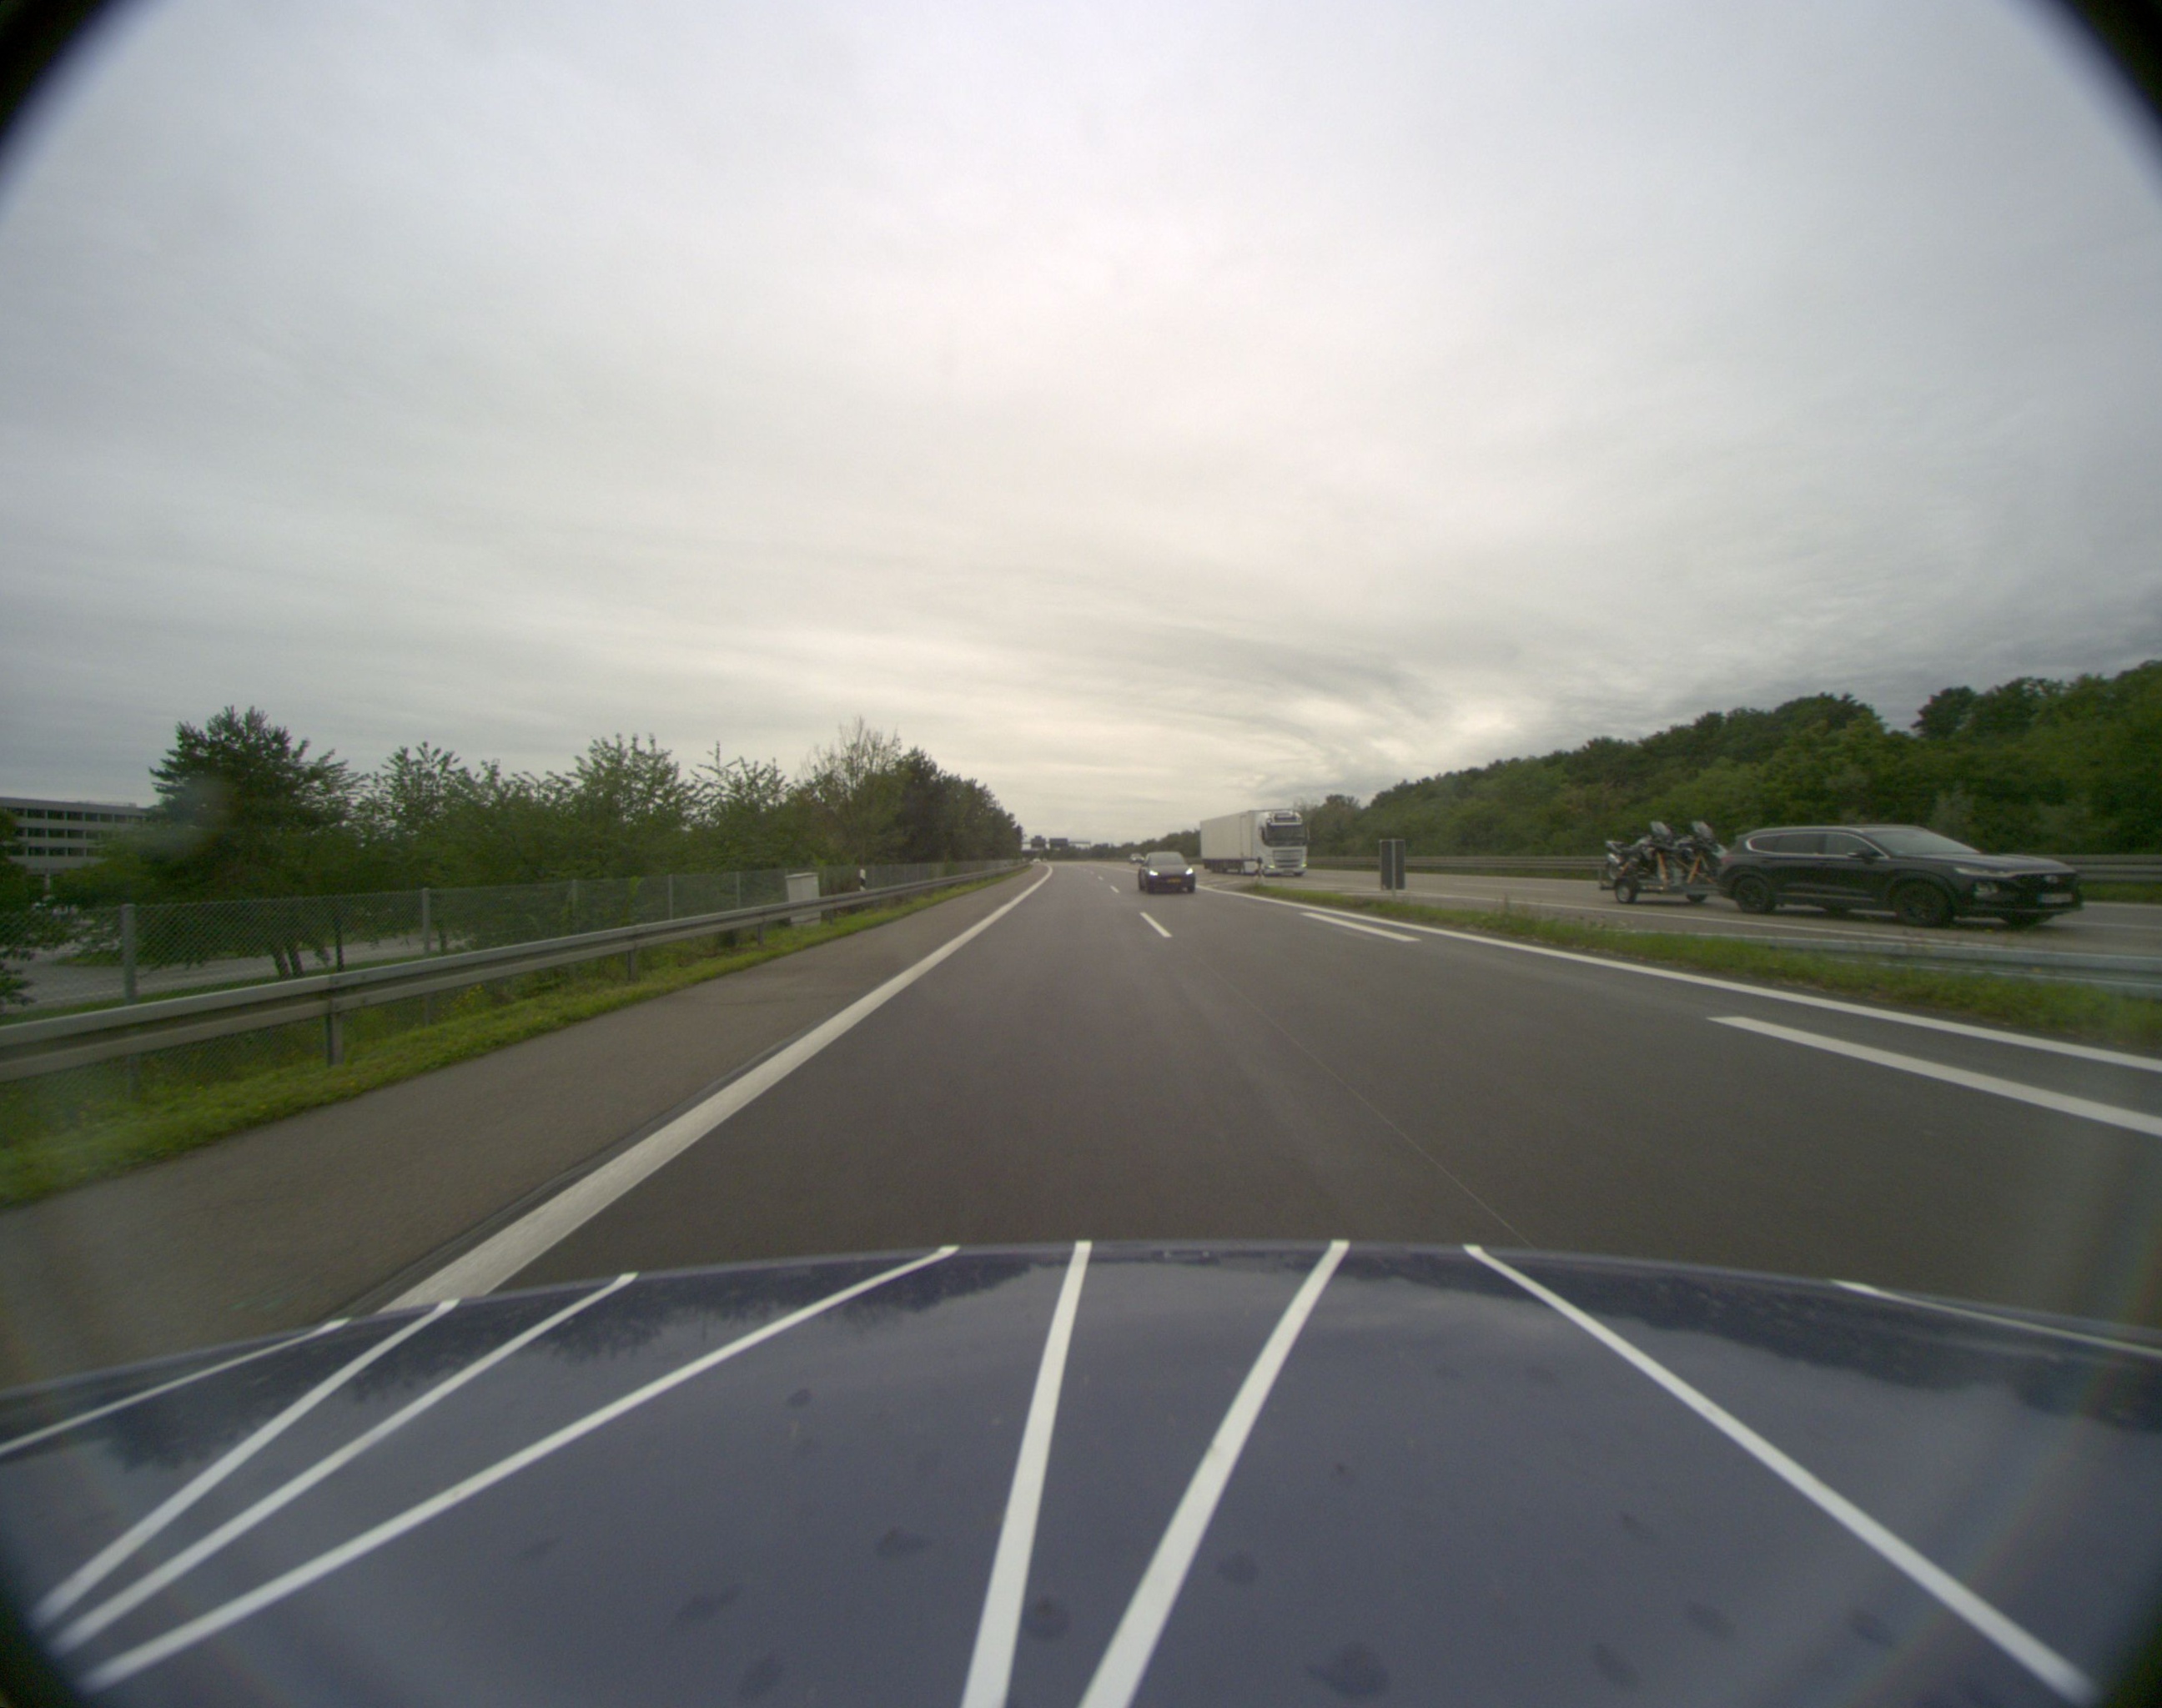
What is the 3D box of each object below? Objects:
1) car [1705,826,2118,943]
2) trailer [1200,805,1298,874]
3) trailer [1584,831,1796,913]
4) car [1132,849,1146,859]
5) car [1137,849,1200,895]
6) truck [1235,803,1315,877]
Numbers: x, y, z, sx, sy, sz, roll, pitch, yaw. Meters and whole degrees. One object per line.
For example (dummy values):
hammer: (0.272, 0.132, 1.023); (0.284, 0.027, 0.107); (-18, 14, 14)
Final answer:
car: (13.982, 0.404, 13.367); (1.887, 1.617, 4.805); (-2, 1, -2)
trailer: (11.312, -0.900, 53.086); (2.774, 4.111, 13.946); (-2, 0, -4)
trailer: (13.795, 0.348, 17.516); (1.887, 1.617, 3.609); (-2, 1, -3)
car: (10.199, 0.009, 133.481); (1.904, 1.641, 4.484); (-2, 0, -2)
car: (3.500, 0.657, 31.185); (1.966, 1.628, 4.553); (-2, 1, -1)
truck: (11.735, -0.818, 46.577); (2.774, 4.111, 6.442); (-2, 1, -4)
